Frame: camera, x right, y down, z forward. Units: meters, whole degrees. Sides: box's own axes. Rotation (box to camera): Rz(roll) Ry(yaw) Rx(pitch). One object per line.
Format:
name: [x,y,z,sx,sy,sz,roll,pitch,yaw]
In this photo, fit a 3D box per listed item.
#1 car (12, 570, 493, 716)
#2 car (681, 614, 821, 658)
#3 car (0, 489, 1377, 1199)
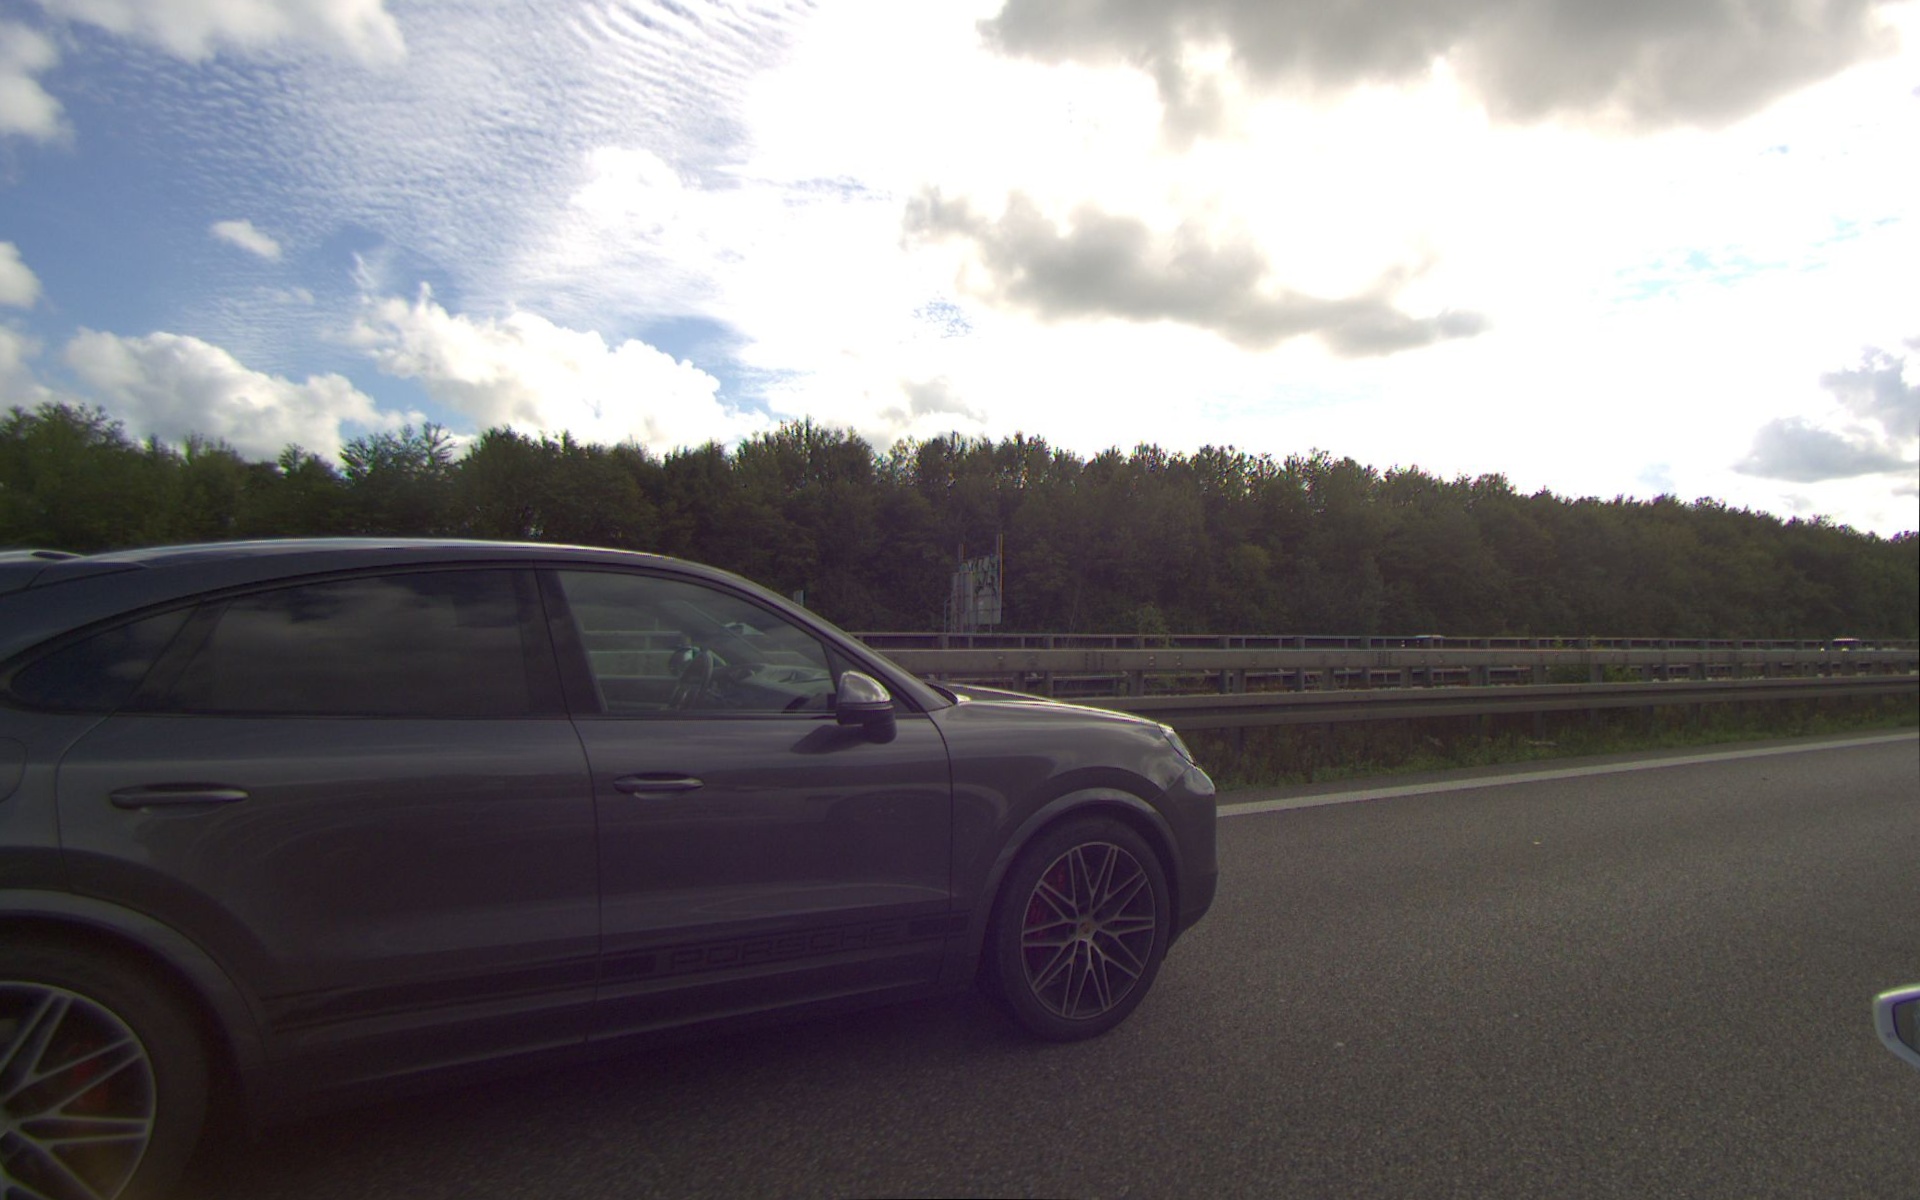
car: [-9.034,0.559,13.436,4.947,1.658,1.803,2,-1,-29]
car: [-7.942,1.364,38.341,4.954,1.598,1.762,1,-1,-31]
car: [-1.074,0.651,3.631,5.436,1.658,1.903,2,-1,-31]
